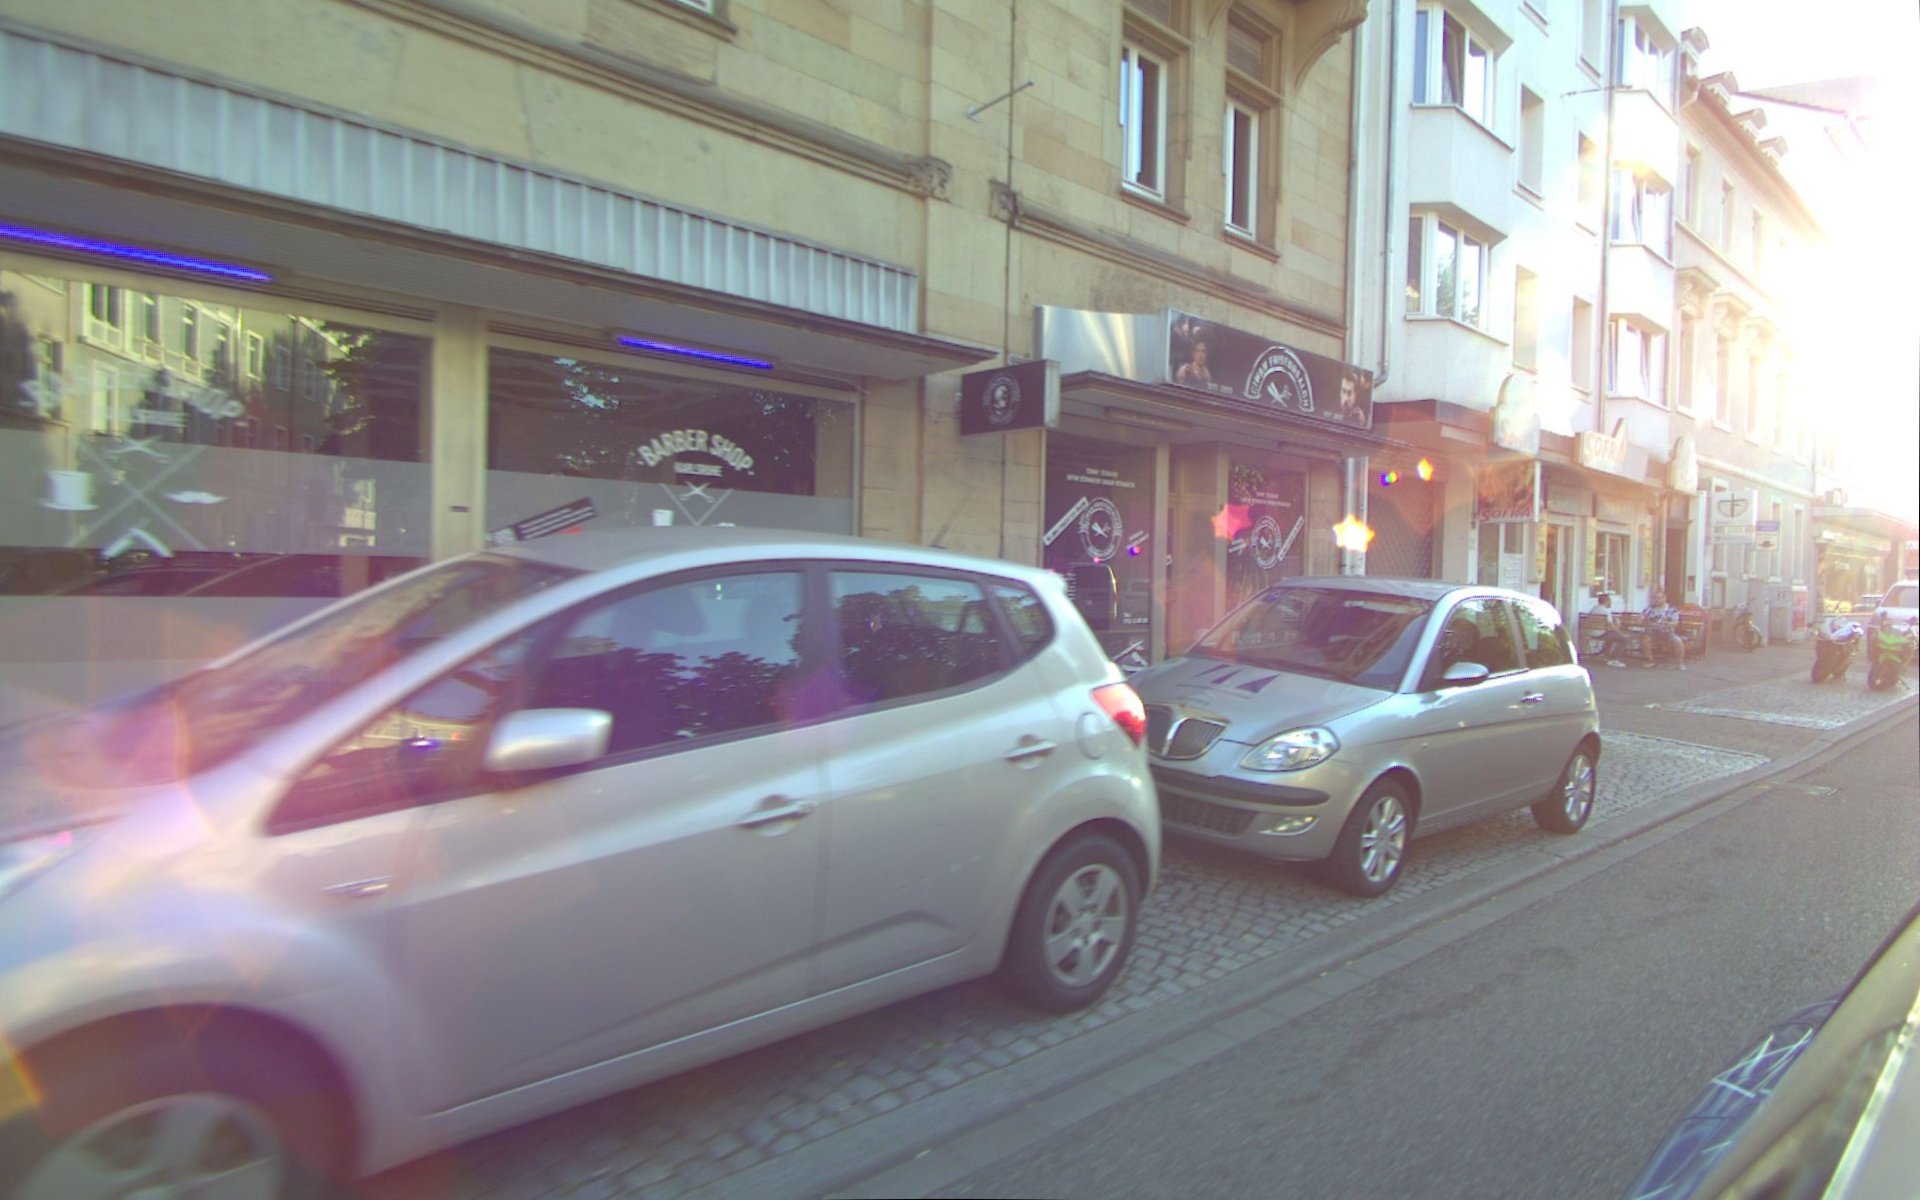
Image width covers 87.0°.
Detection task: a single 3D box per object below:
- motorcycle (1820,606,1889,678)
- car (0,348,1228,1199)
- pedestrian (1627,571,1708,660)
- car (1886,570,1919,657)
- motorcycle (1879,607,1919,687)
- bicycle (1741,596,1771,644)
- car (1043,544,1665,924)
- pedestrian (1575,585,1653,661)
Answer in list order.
[{"bbox_3d":[15.318,0.689,17.310,2.171,1.137,0.589,0,1,-41],"label":"motorcycle"},{"bbox_3d":[-1.030,0.462,3.234,3.930,1.791,1.700,0,2,-41],"label":"car"},{"bbox_3d":[12.495,0.263,17.875,0.975,1.505,0.957,1,0,-40],"label":"pedestrian"},{"bbox_3d":[22.174,0.295,22.522,4.228,1.858,1.714,0,0,-39],"label":"car"},{"bbox_3d":[15.393,0.724,16.302,2.171,1.215,0.589,0,0,-41],"label":"motorcycle"},{"bbox_3d":[18.337,0.448,23.331,0.453,1.024,1.691,1,2,35],"label":"bicycle"},{"bbox_3d":[2.543,0.540,6.130,3.926,1.580,1.685,0,3,-38],"label":"car"},{"bbox_3d":[11.420,0.395,17.696,0.774,1.234,0.745,3,2,-10],"label":"pedestrian"}]
